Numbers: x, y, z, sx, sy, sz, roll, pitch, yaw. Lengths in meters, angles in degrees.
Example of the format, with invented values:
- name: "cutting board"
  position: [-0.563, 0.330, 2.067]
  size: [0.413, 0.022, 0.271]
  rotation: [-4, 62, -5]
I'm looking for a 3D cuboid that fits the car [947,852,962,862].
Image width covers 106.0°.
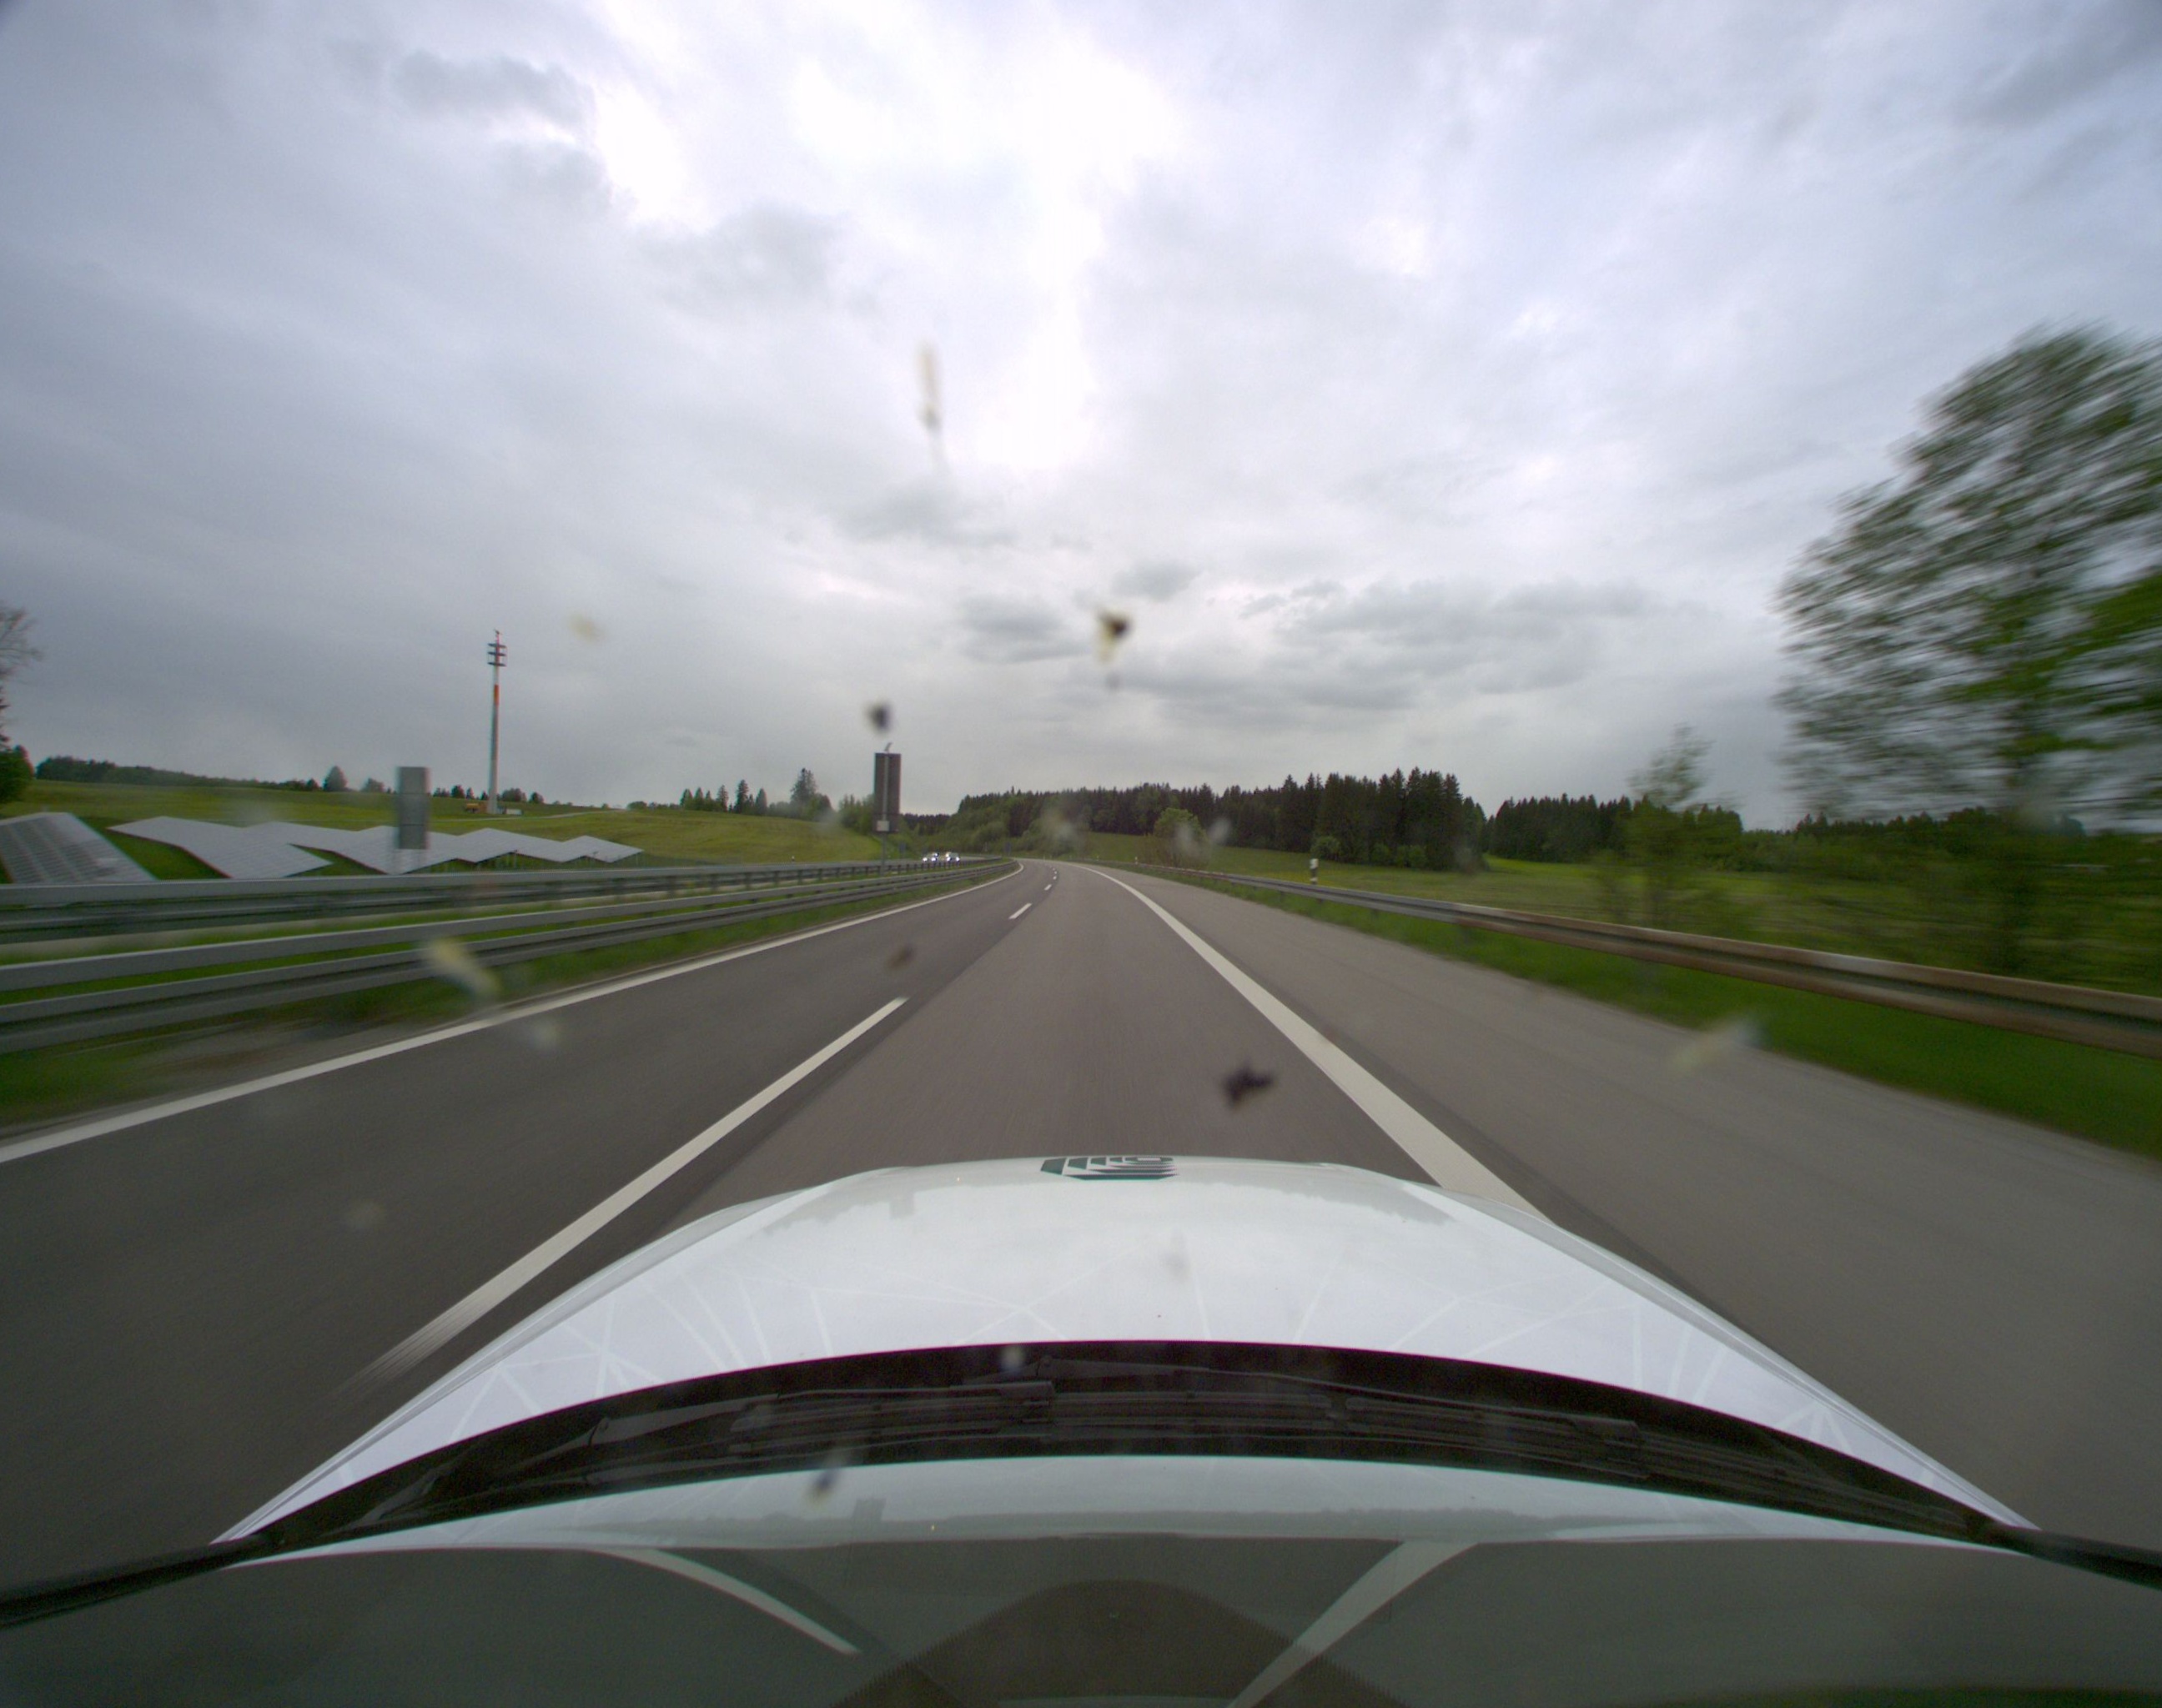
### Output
- name: "car"
  position: [-20.027, 0.426, 129.023]
  size: [1.990, 1.417, 3.994]
  rotation: [2, 0, -4]

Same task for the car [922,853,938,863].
- name: "car"
  position: [-24.536, 0.683, 132.577]
  size: [1.990, 1.440, 4.992]
  rotation: [2, 0, -4]

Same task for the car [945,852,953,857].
- name: "car"
  position: [-41.177, 0.152, 253.907]
  size: [1.996, 1.686, 4.606]
  rotation: [2, 0, -13]
